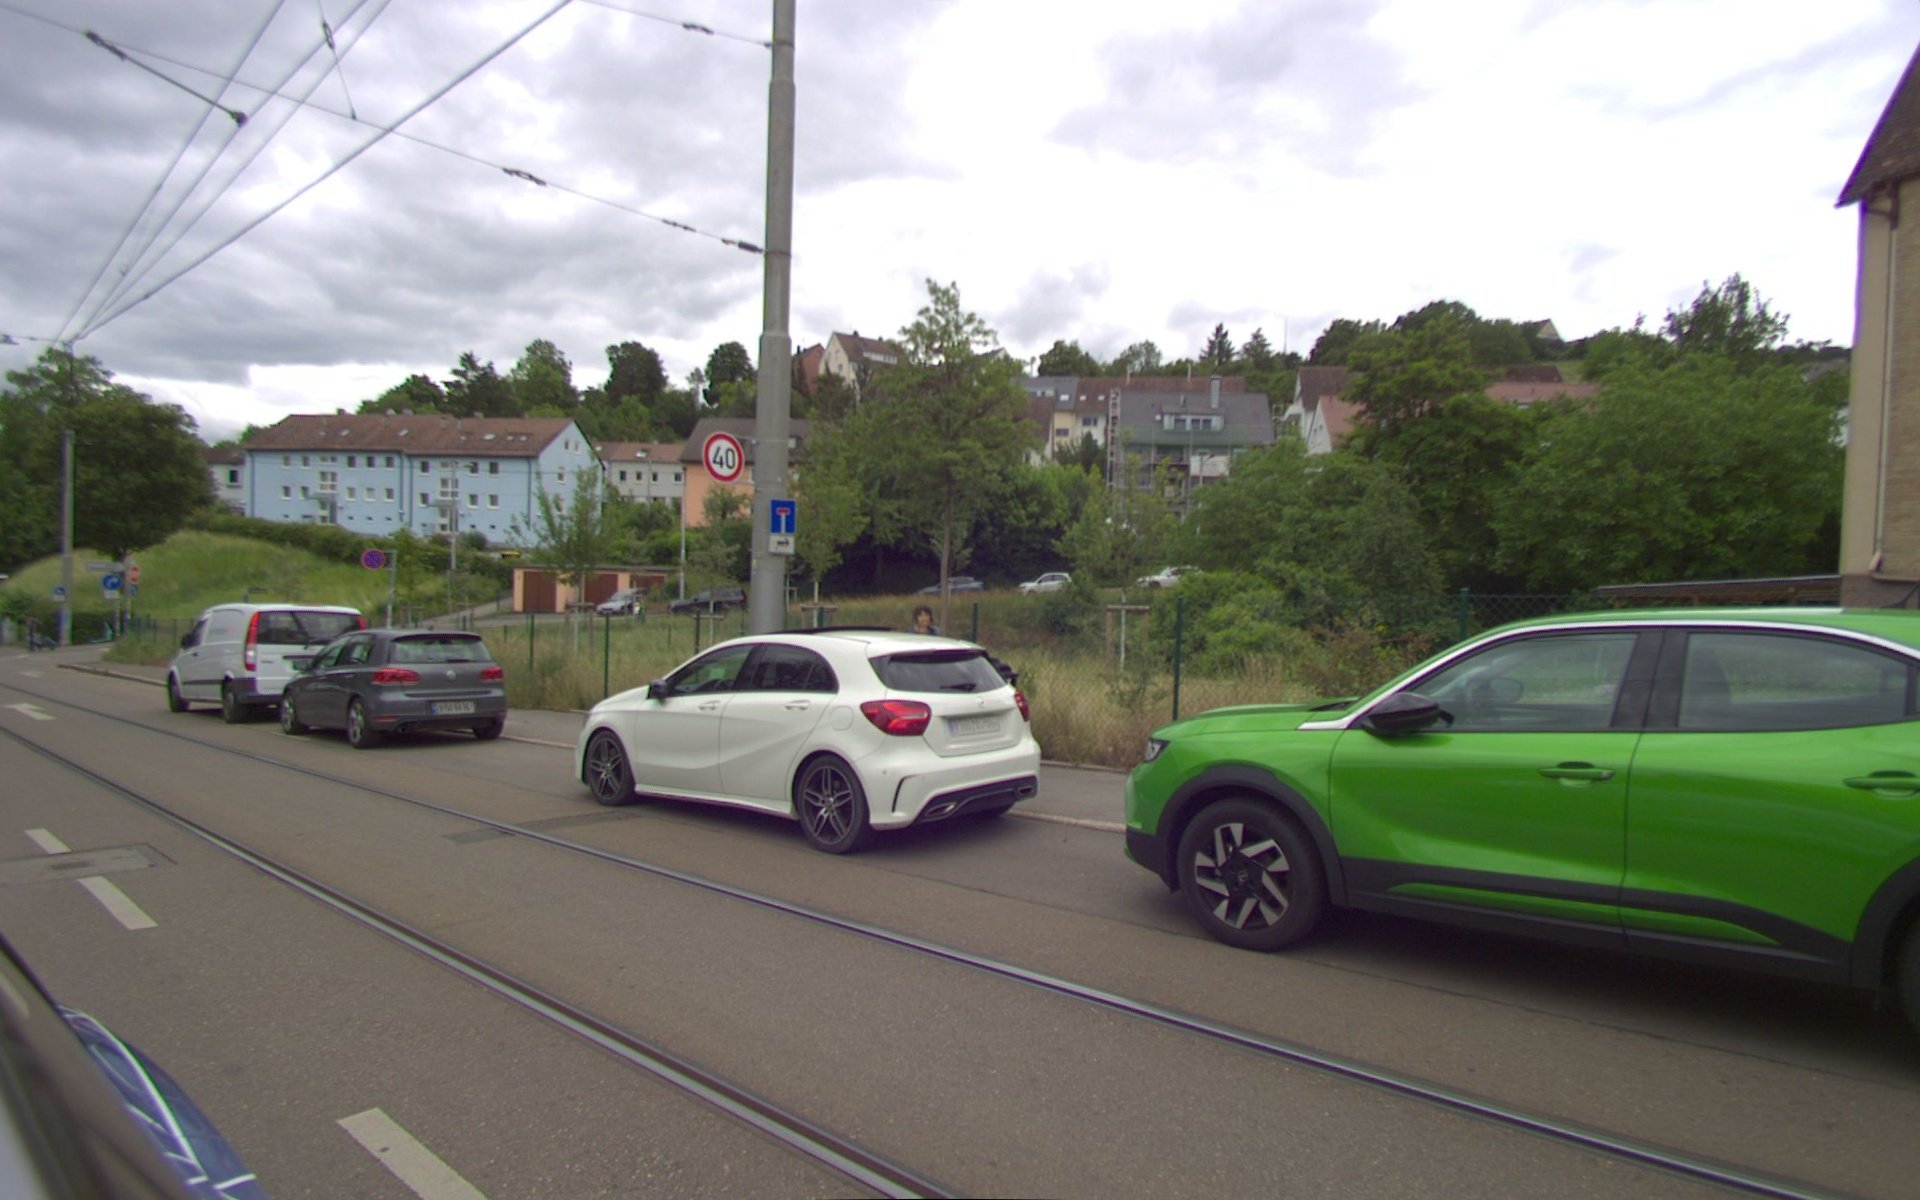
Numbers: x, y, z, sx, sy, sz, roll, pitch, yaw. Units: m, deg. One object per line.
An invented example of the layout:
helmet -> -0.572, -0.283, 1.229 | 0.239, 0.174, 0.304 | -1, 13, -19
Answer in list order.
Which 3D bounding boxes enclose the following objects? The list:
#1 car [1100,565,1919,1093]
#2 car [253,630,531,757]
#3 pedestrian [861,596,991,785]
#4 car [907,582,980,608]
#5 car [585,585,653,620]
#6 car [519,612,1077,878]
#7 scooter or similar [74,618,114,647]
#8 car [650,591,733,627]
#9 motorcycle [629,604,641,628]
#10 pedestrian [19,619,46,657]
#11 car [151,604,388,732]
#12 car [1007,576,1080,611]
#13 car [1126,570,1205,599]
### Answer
car -> 2.816, 0.716, 4.271 | 4.178, 1.592, 1.705 | -1, -2, 41
car -> -7.842, 1.132, 13.783 | 4.508, 1.443, 1.876 | -2, -2, 41
pedestrian -> -0.316, 0.792, 9.435 | 0.916, 1.641, 0.796 | 0, 0, 41
car -> -1.010, -0.310, 60.528 | 4.065, 1.523, 1.987 | -1, 0, -10
car -> -20.732, 0.114, 61.756 | 1.976, 1.624, 4.871 | 0, 5, 7
car -> -1.517, 0.882, 8.115 | 4.660, 1.537, 1.865 | -1, -2, 41
scooter or similar -> -43.790, 1.648, 51.178 | 0.418, 1.298, 1.394 | 0, 4, 41
car -> -15.152, 0.498, 57.382 | 4.378, 1.702, 1.982 | -4, 1, -11
motorcycle -> -18.212, 0.888, 56.741 | 0.513, 1.165, 1.710 | -1, 4, -14
pedestrian -> -44.381, 1.829, 48.431 | 0.887, 1.763, 0.744 | -1, 0, -36
car -> -11.870, 1.050, 17.269 | 4.881, 1.896, 2.015 | 0, -3, 40
car -> 5.080, -0.402, 62.074 | 4.064, 2.029, 1.987 | -1, 0, -11
car -> 12.873, -0.974, 63.570 | 4.411, 1.802, 1.906 | -1, 0, -10
